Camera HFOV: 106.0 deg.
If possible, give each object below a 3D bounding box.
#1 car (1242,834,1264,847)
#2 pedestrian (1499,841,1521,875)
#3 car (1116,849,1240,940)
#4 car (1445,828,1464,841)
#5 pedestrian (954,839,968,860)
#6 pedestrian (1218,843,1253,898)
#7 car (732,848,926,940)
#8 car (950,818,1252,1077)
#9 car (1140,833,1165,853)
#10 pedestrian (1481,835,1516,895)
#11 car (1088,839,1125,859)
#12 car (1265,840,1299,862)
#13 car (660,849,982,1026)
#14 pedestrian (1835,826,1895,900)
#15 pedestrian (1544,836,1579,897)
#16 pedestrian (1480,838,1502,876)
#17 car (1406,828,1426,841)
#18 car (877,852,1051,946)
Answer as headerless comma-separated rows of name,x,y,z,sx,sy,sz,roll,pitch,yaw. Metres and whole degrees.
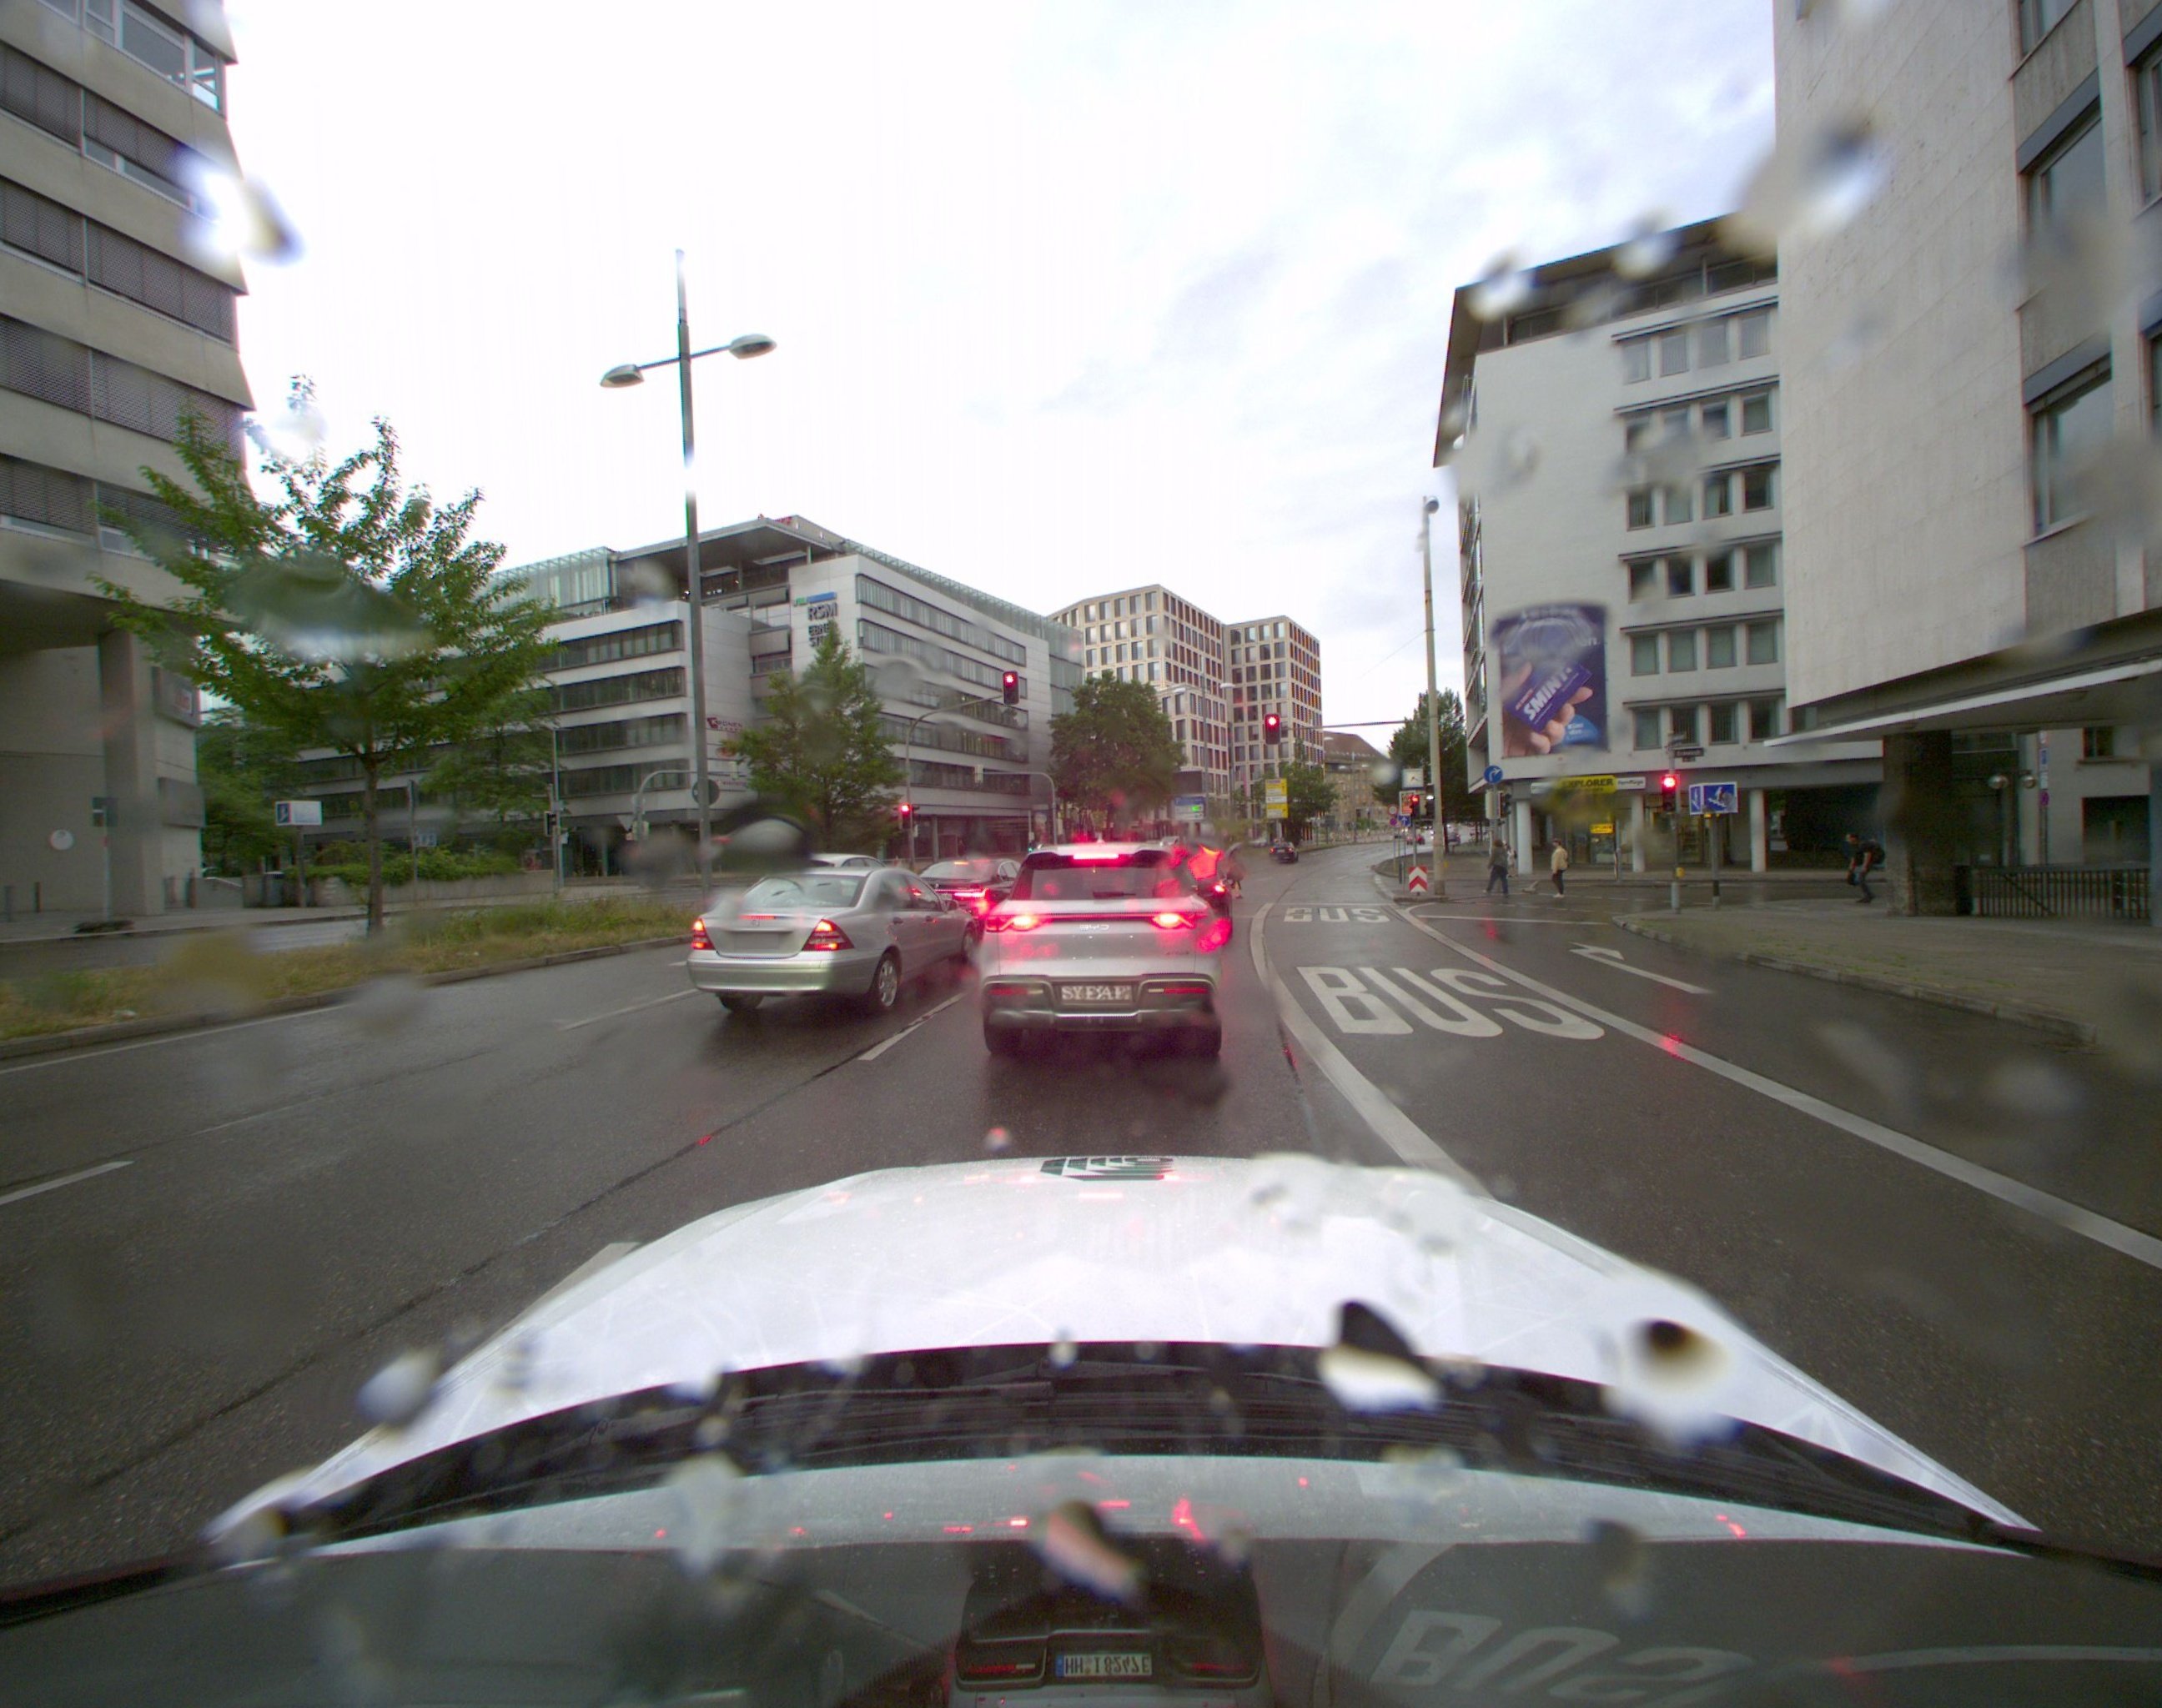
car,25.240,-1.997,119.181,1.975,1.705,4.336,-1,2,29
pedestrian,19.314,0.171,36.709,0.721,1.524,0.763,-1,-1,17
car,2.034,0.697,15.975,1.941,1.530,4.014,-1,0,13
car,52.607,-2.752,114.681,2.027,1.765,4.384,0,1,30
pedestrian,-10.016,-0.395,67.964,0.721,1.727,0.930,-1,0,23
pedestrian,4.964,0.515,26.215,0.920,1.738,0.729,-1,0,-3
car,-4.831,0.691,16.275,1.871,1.596,4.015,-1,0,14
car,0.315,0.615,7.691,1.984,1.709,4.489,-1,0,5
car,7.982,-1.207,90.456,1.723,2.161,4.516,0,0,20
pedestrian,12.795,0.331,24.996,0.806,1.798,0.714,-1,0,17
car,2.346,-0.479,74.732,1.976,1.705,4.023,-1,2,24
car,14.883,-0.223,60.203,1.976,1.552,4.021,0,1,21
car,-2.528,0.720,9.129,1.672,1.486,4.207,-1,0,9
pedestrian,19.180,0.222,19.921,0.800,1.755,1.005,0,-1,-44
pedestrian,14.424,0.359,24.450,0.721,1.798,0.742,-1,0,17
pedestrian,18.648,0.136,37.045,0.721,1.668,0.694,-1,-1,17
car,43.041,-2.472,104.464,1.892,1.510,4.383,0,1,29
car,-2.045,0.751,15.573,1.941,1.530,4.014,-1,0,13
